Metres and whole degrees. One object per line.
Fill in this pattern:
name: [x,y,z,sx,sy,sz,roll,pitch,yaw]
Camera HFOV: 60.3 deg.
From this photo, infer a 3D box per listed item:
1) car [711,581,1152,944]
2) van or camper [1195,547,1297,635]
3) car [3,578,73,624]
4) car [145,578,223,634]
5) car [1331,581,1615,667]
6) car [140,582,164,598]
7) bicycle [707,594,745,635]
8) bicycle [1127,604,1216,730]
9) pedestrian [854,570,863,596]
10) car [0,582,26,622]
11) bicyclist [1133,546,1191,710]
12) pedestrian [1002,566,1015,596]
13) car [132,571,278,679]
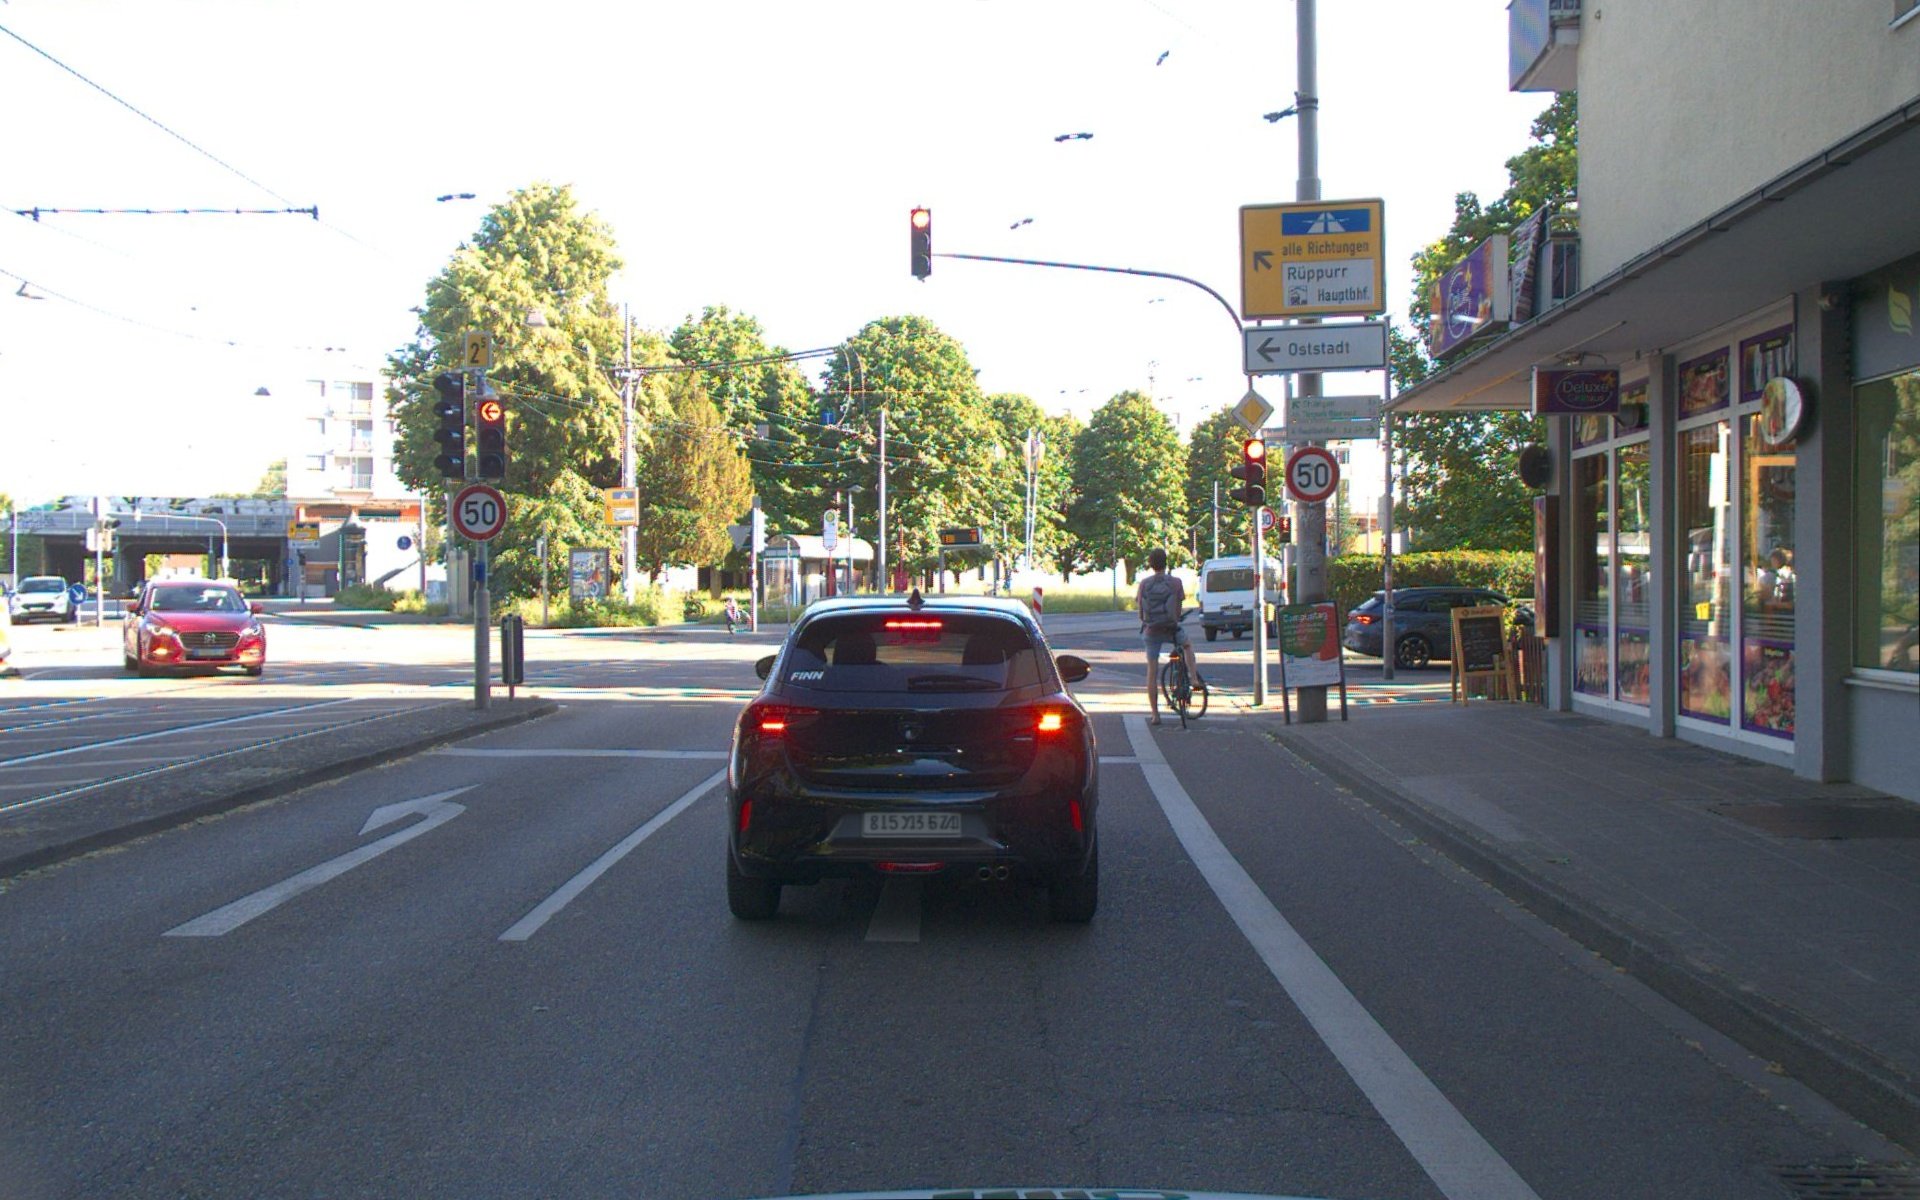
car: [-0.144,0.647,8.783,1.803,1.487,3.983,0,1,-1]
van or camper: [8.092,-0.227,46.469,1.987,2.351,4.540,1,0,20]
car: [-34.076,0.033,61.210,1.860,1.613,3.809,1,0,-24]
car: [-23.292,0.176,49.561,1.967,1.579,4.160,1,0,-27]
car: [9.256,0.404,30.143,4.626,1.499,1.941,0,1,4]
car: [-66.219,-0.788,135.528,1.562,1.282,3.394,-1,1,-30]
bicycle: [-6.497,0.386,46.020,0.780,1.083,2.184,0,1,-1]
bicycle: [2.316,0.688,17.908,0.737,1.256,2.017,0,1,14]
pedestrian: [-7.569,-1.270,123.181,0.592,1.904,0.519,1,-1,-7]
car: [-39.494,0.058,67.607,1.860,1.613,3.809,1,0,-24]
bicyclist: [2.177,0.293,17.789,0.522,1.722,0.568,0,0,16]
pedestrian: [3.038,-1.177,103.212,0.599,1.904,0.513,1,-1,-36]
car: [-12.216,0.346,26.866,1.990,1.592,4.458,0,1,-24]
